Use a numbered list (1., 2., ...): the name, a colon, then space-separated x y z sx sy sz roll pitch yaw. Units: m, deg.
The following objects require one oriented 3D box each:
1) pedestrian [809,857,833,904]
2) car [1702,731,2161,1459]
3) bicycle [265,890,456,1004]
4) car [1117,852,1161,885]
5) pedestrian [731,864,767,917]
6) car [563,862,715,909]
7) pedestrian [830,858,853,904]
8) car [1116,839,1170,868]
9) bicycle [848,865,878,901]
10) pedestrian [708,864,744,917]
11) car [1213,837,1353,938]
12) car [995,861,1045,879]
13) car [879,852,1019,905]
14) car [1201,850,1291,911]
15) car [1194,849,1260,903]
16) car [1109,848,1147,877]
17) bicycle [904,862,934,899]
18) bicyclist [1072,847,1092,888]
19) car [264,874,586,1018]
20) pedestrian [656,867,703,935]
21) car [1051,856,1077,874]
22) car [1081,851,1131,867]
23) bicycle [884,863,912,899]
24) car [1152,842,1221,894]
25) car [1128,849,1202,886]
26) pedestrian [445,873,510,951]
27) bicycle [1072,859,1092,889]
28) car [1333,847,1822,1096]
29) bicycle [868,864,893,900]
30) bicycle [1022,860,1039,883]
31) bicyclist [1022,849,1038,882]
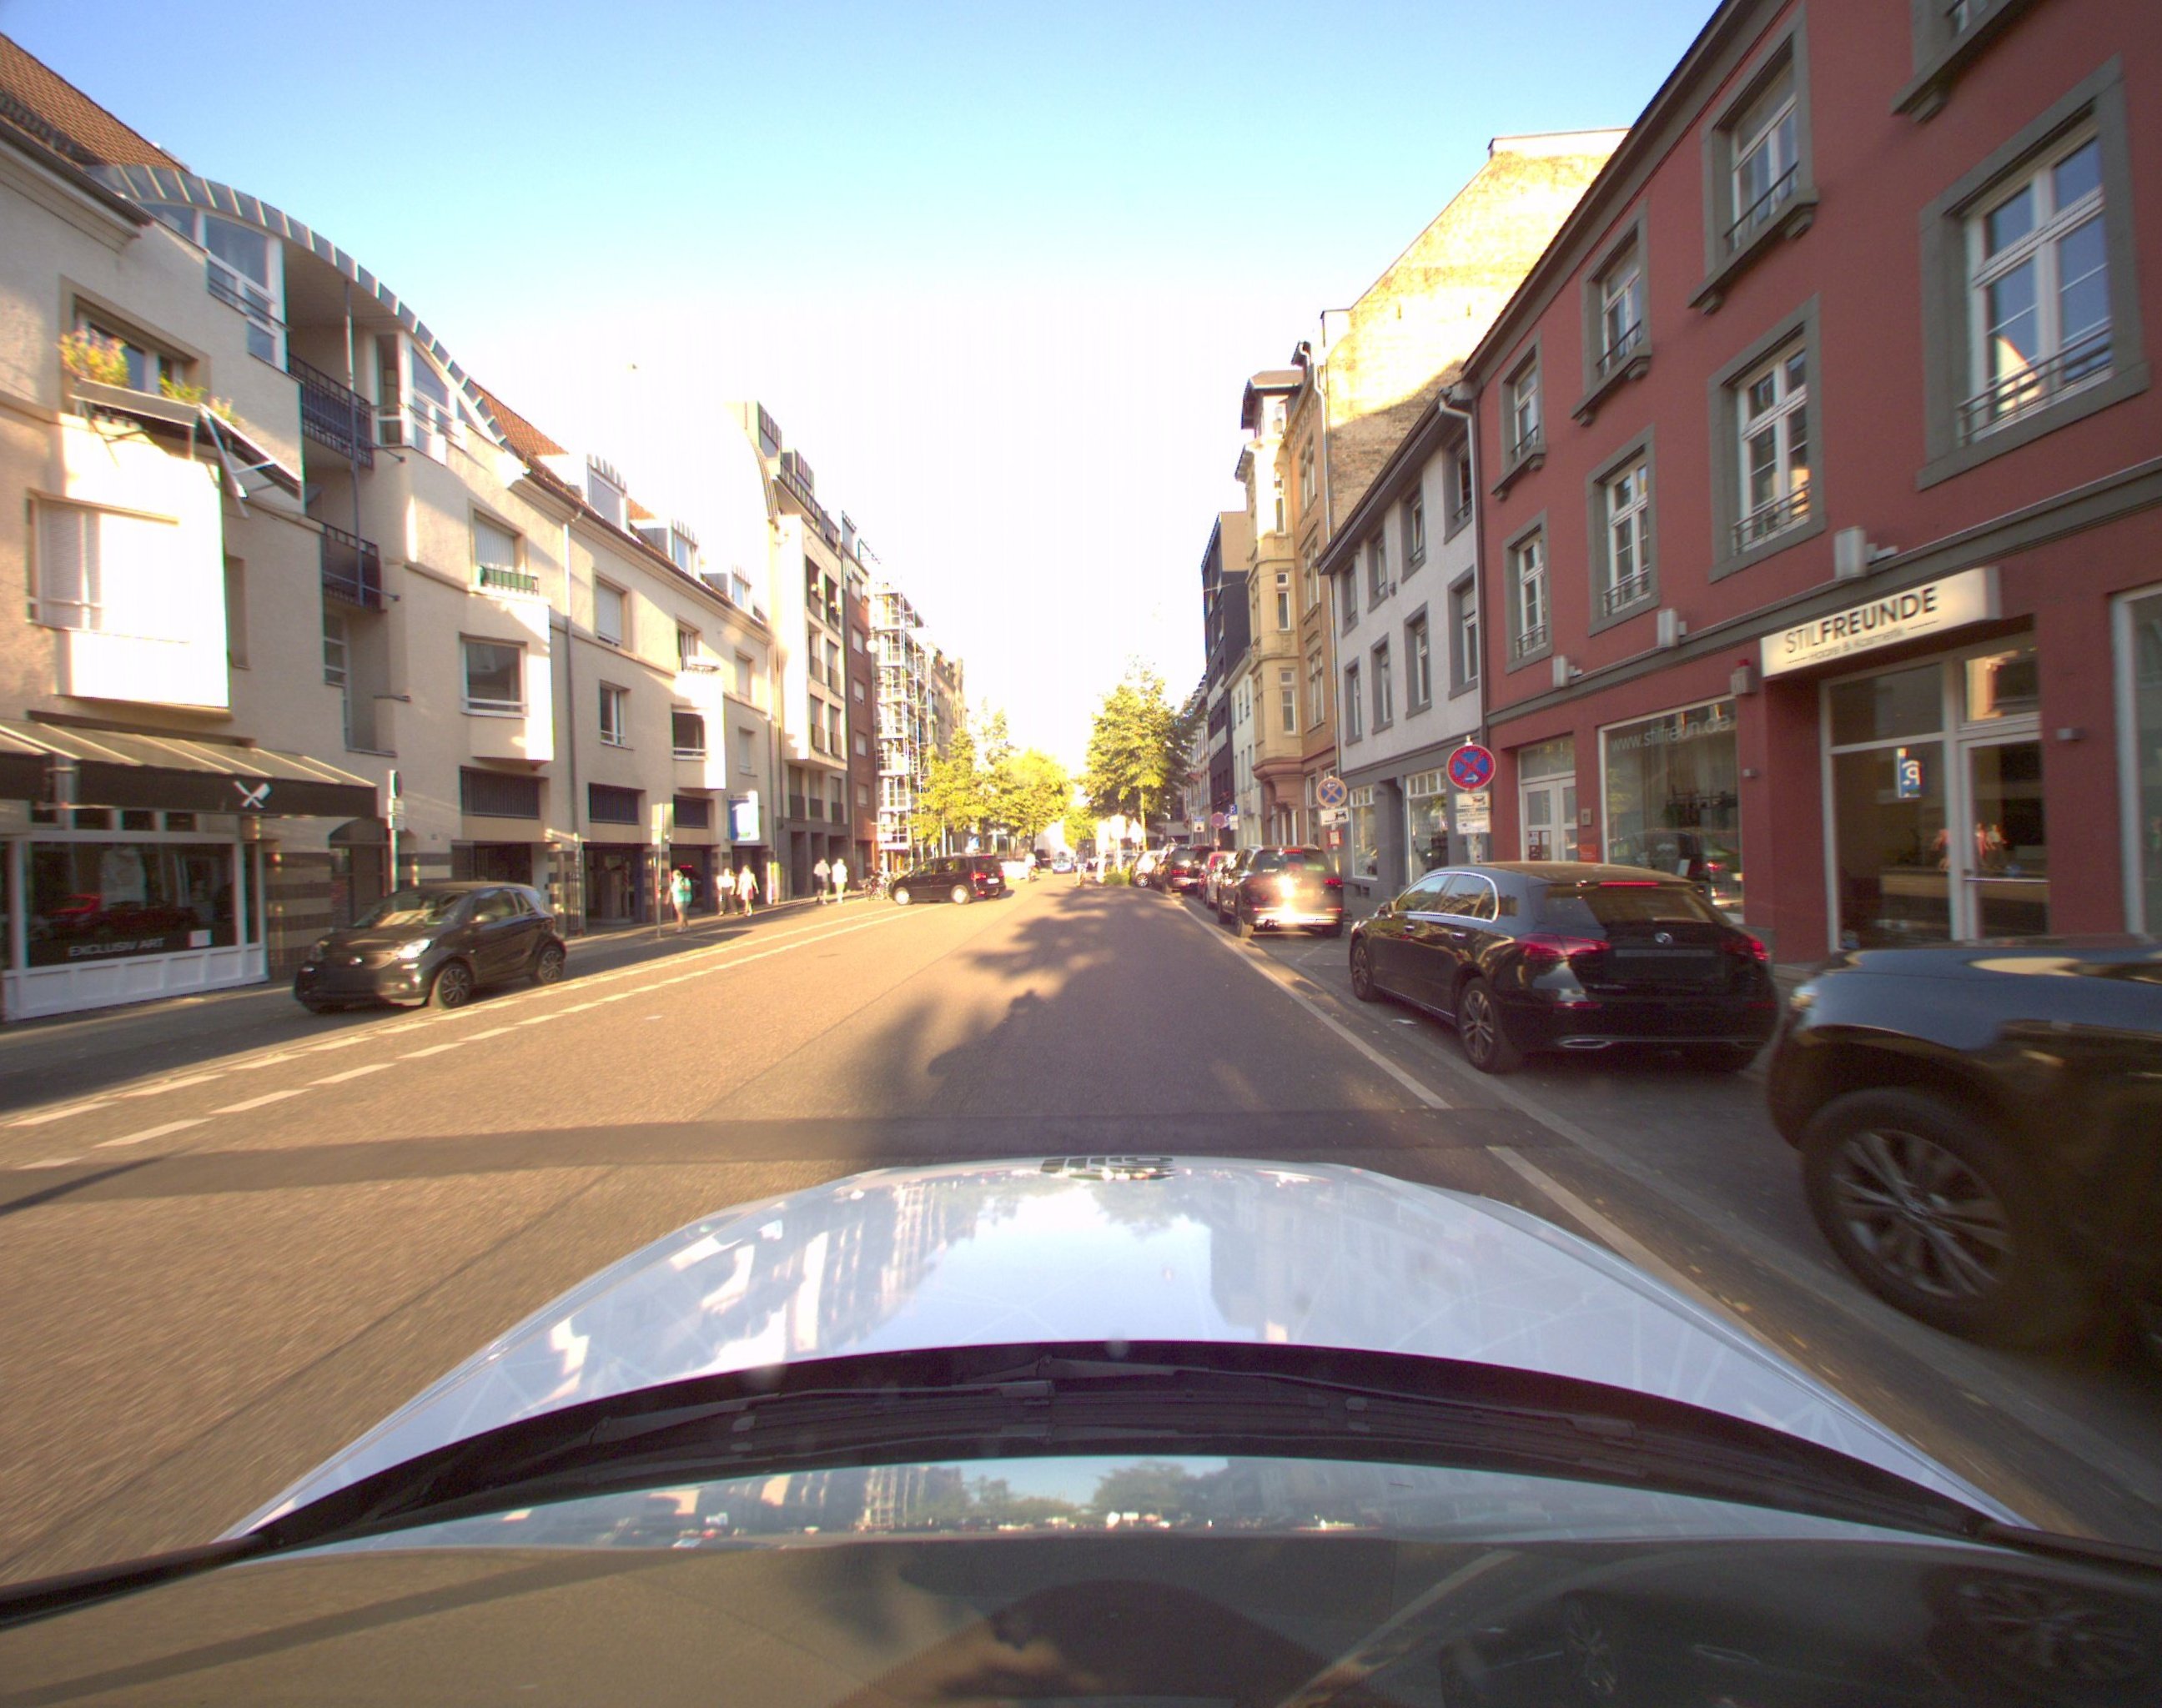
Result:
1. pedestrian: -9.882 0.995 31.007 0.716 1.767 0.693 -1 -1 -6
2. car: 3.525 0.566 0.883 1.877 1.754 5.059 -1 0 0
3. bicycle: -10.227 1.257 11.722 0.608 1.375 2.359 -1 0 1
4. car: 3.052 0.755 43.677 1.988 1.668 4.507 -1 0 -1
5. pedestrian: -10.429 1.128 25.608 0.713 1.641 0.856 -1 -1 6
6. car: -16.008 1.128 29.646 4.474 1.601 2.002 -1 -1 4
7. pedestrian: -9.346 1.045 31.803 0.716 1.740 0.737 -1 -1 -6
8. car: 4.743 -0.025 62.307 3.967 2.013 2.003 -2 0 6
9. bicycle: -8.894 1.153 33.374 0.720 1.395 3.146 -1 0 -6
10. pedestrian: -11.202 1.135 25.728 0.713 1.641 0.856 -1 -1 6
11. car: 3.717 0.574 15.729 1.804 1.668 4.208 -1 0 2
12. car: -5.299 1.389 70.785 4.085 1.466 1.891 -1 0 3
13. car: -4.529 0.853 27.812 4.451 1.602 2.013 -4 -2 33
14. car: 4.053 0.627 20.536 1.660 1.378 3.805 -1 0 2
15. car: 4.317 0.628 24.480 1.580 1.483 3.270 -1 0 4
16. car: 3.249 0.592 57.072 2.259 1.766 4.507 4 -1 -1
17. bicycle: -6.679 1.056 33.690 0.892 1.395 3.159 -2 0 -6
18. bicyclist: 0.028 0.585 34.971 0.778 1.696 1.007 -3 -1 -1
19. car: -8.598 1.113 11.072 1.786 1.535 3.188 -1 0 -1
20. pedestrian: -10.073 1.156 20.446 0.714 1.641 0.951 -1 -1 -1
21. car: -1.374 0.930 69.223 1.830 1.441 4.336 0 0 4
22. car: 2.415 0.448 77.943 4.477 1.480 1.870 0 -1 -35
23. bicycle: -7.530 1.081 33.570 0.780 1.373 3.135 -1 0 -6
24. car: 3.678 0.481 29.130 1.819 1.695 4.366 -1 0 -1
25. car: 3.554 0.574 34.816 2.961 1.536 1.432 -1 -1 -3
26. pedestrian: -12.938 1.217 17.483 0.713 1.616 0.856 -1 -1 4
27. bicycle: 0.028 0.831 34.954 0.778 1.204 2.020 -3 0 0
28. car: 3.644 0.722 7.058 1.755 1.483 4.309 -1 0 2
29. bicycle: -8.224 1.105 33.466 0.584 1.395 3.154 -1 0 -6
30. bicycle: -2.836 0.970 45.854 0.778 1.204 2.020 -3 0 0
31. bicyclist: -2.861 0.656 45.845 0.778 1.829 1.007 -3 -1 -1
